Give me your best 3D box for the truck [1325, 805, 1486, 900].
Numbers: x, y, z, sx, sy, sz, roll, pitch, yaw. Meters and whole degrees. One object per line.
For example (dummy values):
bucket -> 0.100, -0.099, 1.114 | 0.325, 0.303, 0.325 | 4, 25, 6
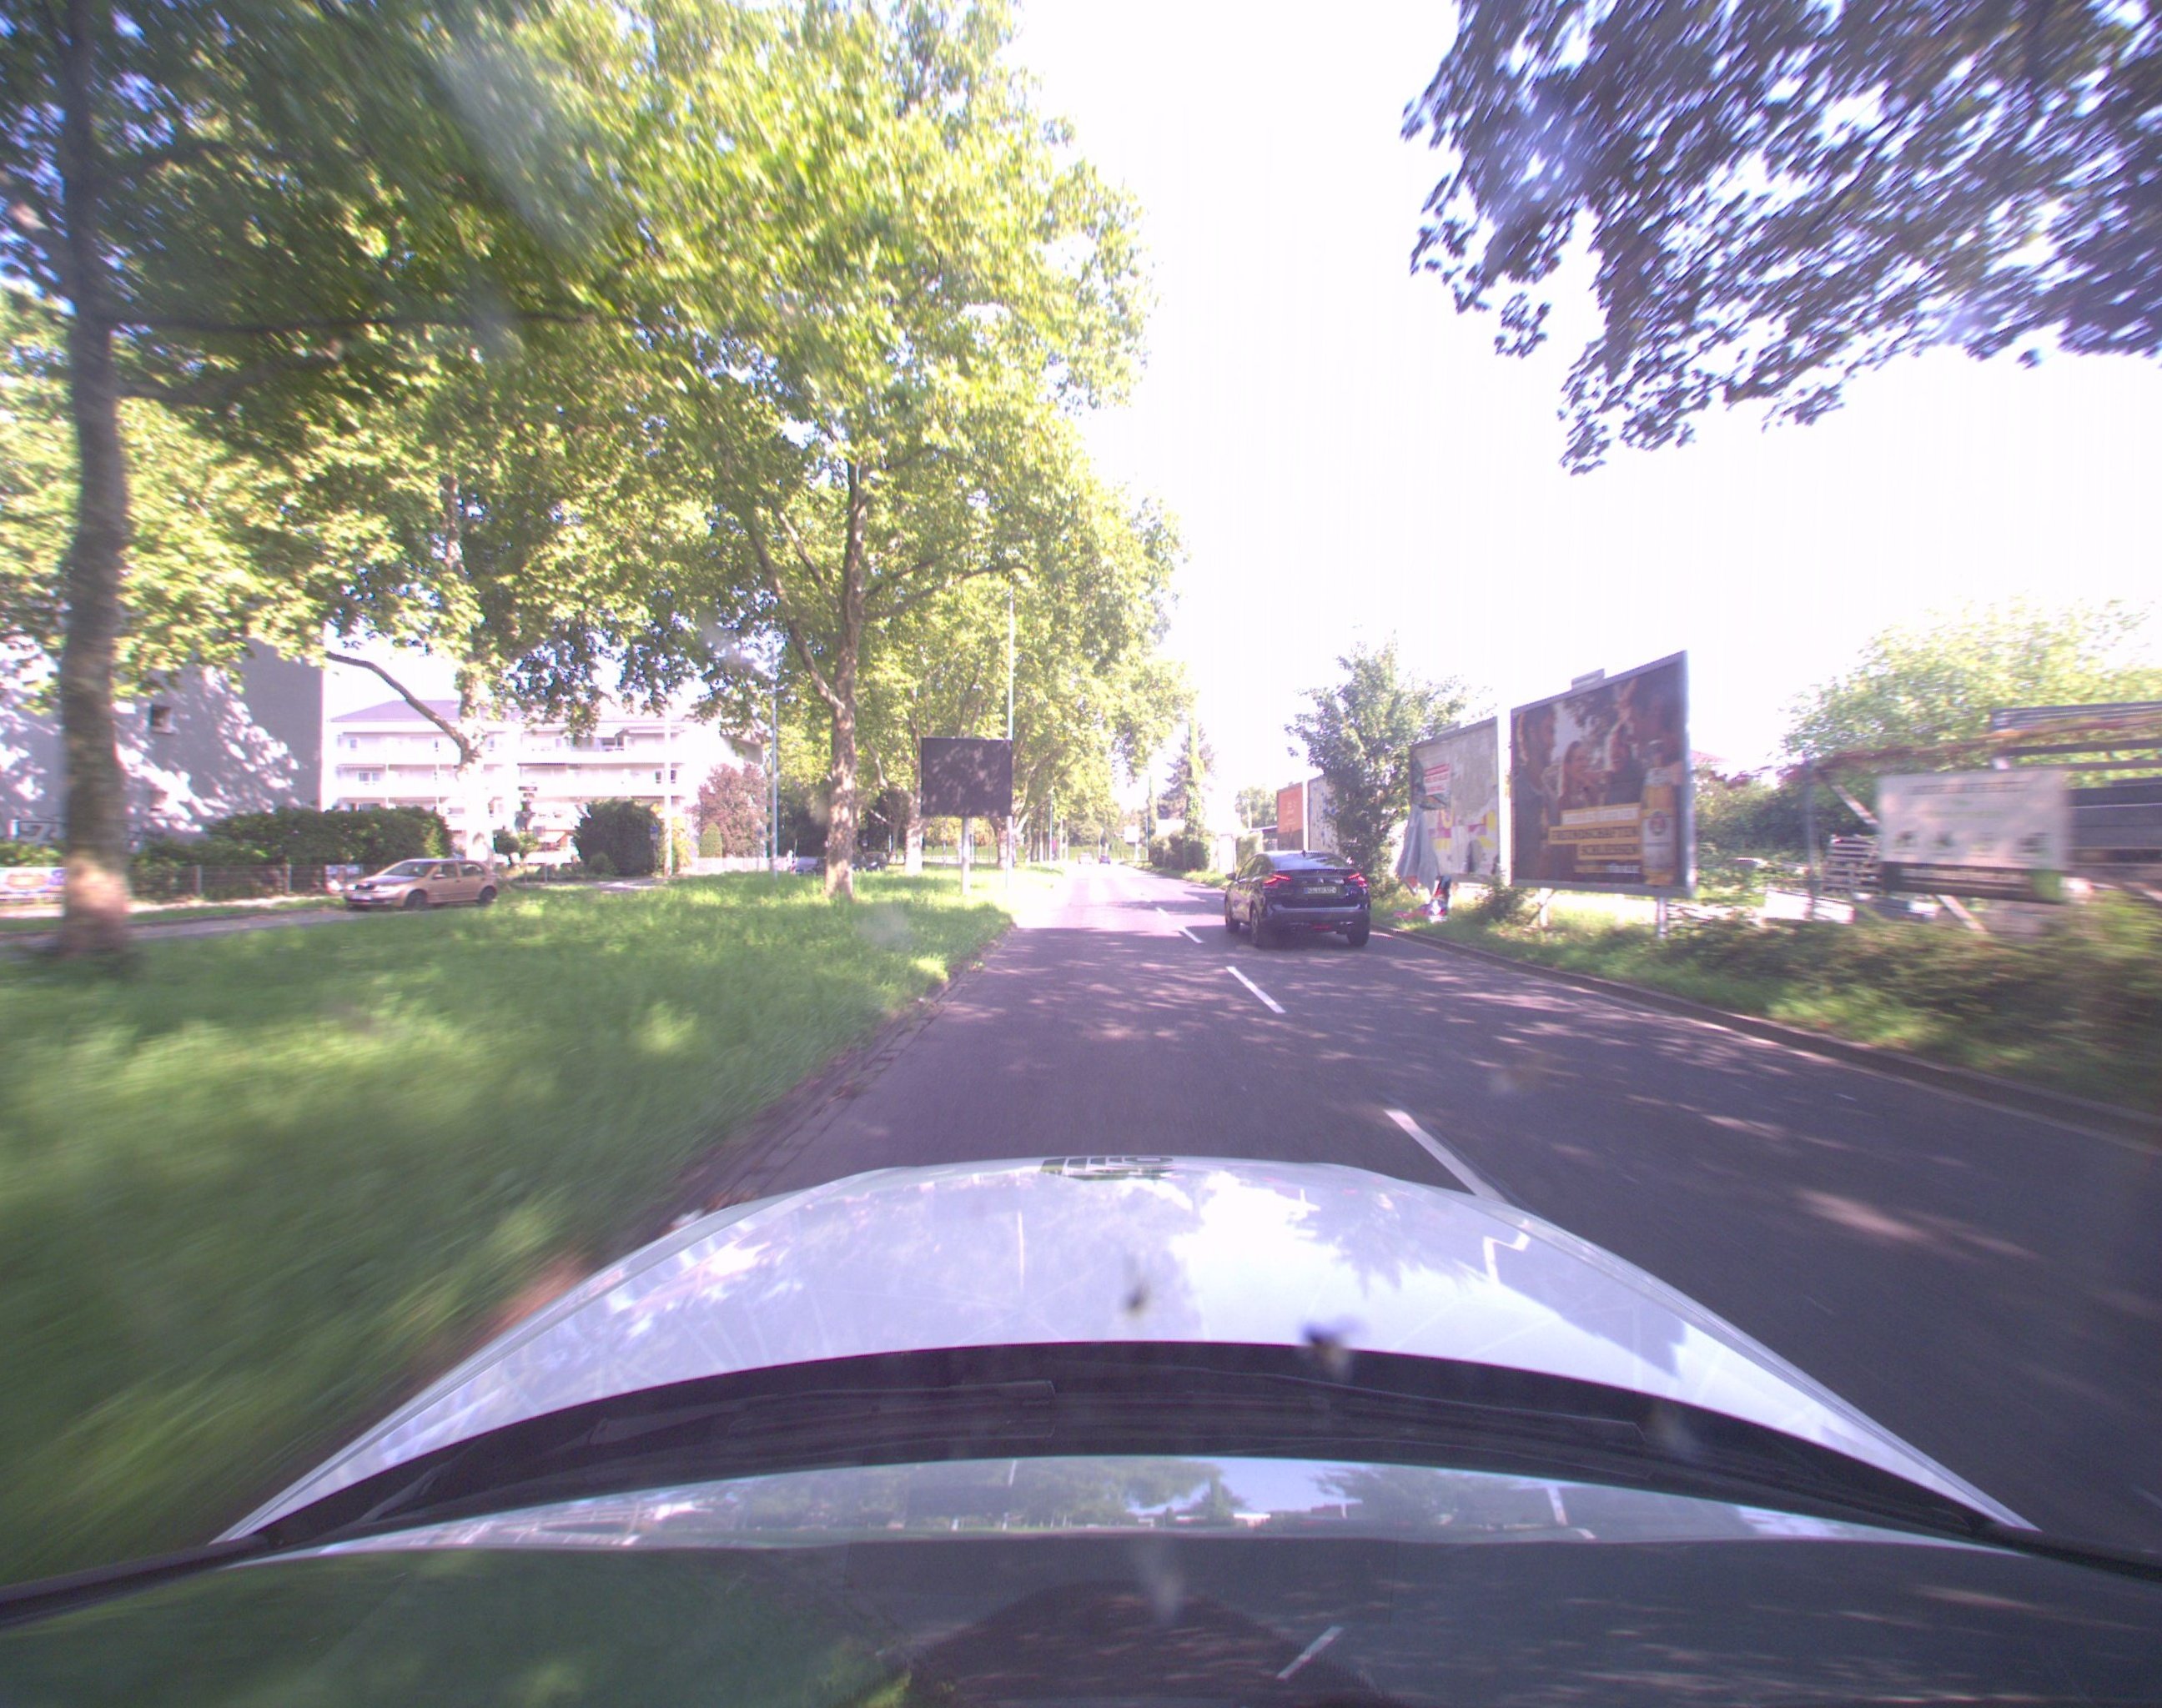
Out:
truck -> 8.689, -0.016, 22.643 | 1.907, 2.233, 6.915 | 0, 0, 2

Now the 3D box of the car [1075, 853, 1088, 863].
car -> 0.041, 0.646, 126.134 | 1.680, 1.462, 3.854 | 0, 0, 4

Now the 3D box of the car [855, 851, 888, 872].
car -> -18.431, 0.675, 71.801 | 1.693, 1.732, 4.659 | 0, 0, 1

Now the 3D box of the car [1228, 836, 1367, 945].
car -> 3.580, 0.562, 14.183 | 1.637, 1.588, 4.261 | -1, -1, 5

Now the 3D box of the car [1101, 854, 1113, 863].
car -> 4.009, 0.714, 126.661 | 1.792, 1.401, 3.999 | 0, 0, 0

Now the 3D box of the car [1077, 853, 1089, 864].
car -> 0.288, 0.649, 118.074 | 1.681, 1.462, 4.001 | 0, 0, 1

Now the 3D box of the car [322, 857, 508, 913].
car -> -18.697, 0.809, 23.143 | 1.795, 1.430, 4.066 | 1, 0, 2

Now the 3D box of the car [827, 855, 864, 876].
car -> -18.467, 0.886, 64.142 | 1.693, 1.568, 4.000 | 0, 0, 1

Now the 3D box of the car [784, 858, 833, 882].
car -> -18.486, 1.052, 55.451 | 1.693, 1.508, 4.541 | 0, 0, 1

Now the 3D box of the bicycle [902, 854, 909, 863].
bicycle -> -24.896, 0.673, 115.642 | 0.543, 1.199, 2.758 | 0, 0, -3

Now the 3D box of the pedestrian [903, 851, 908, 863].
pedestrian -> -24.902, 0.414, 115.543 | 0.541, 1.690, 0.657 | 0, -1, -3
